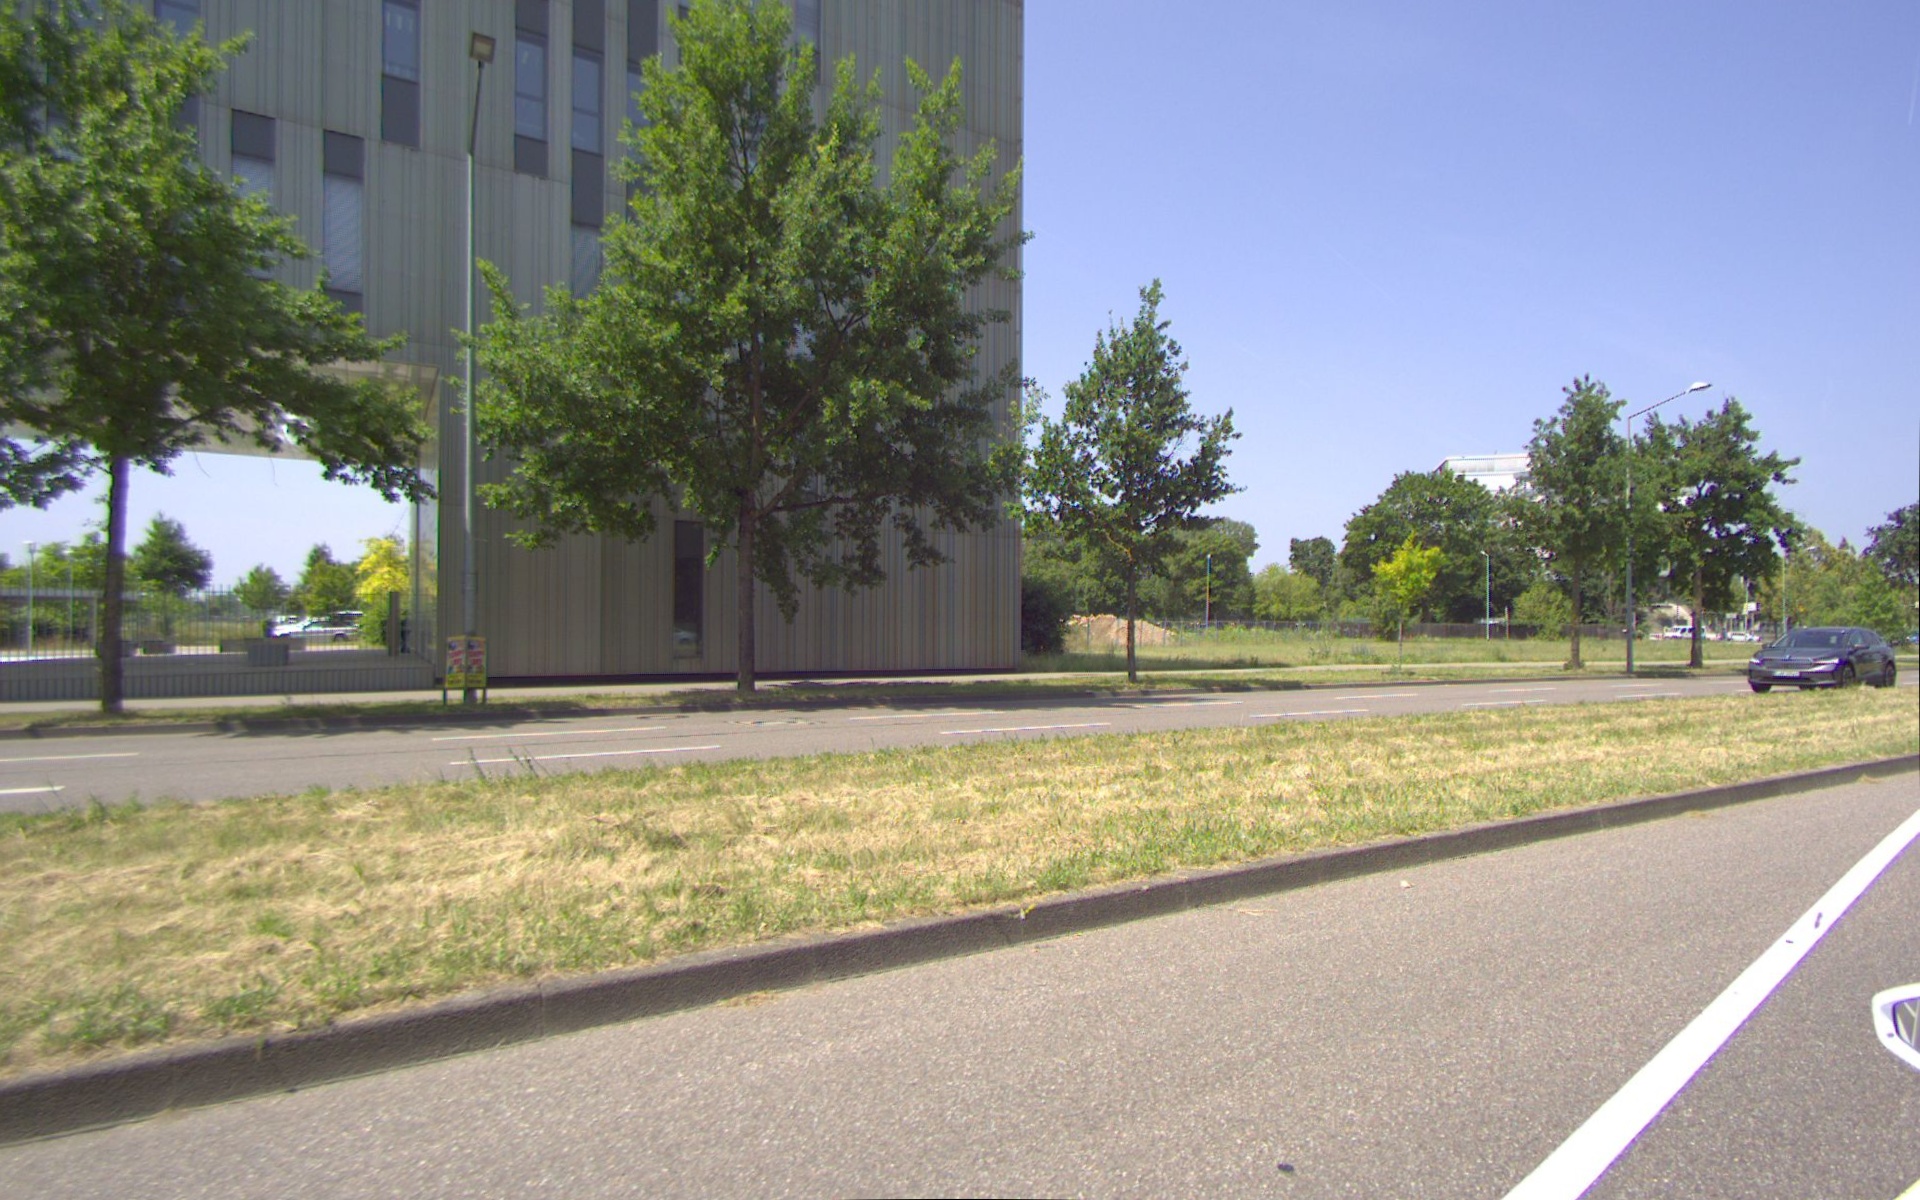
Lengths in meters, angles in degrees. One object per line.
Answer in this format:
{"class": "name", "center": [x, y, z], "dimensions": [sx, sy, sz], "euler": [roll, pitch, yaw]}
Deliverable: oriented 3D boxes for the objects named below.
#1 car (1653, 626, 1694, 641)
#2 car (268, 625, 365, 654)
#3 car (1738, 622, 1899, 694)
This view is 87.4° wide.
{"class": "car", "center": [97.592, 4.574, 137.471], "dimensions": [4.205, 1.903, 2.000], "euler": [1, -1, -1]}
{"class": "car", "center": [-36.251, 2.204, 56.727], "dimensions": [4.469, 1.602, 2.014], "euler": [1, -1, -30]}
{"class": "car", "center": [21.384, 1.389, 24.976], "dimensions": [4.486, 1.632, 1.882], "euler": [1, -1, -33]}
